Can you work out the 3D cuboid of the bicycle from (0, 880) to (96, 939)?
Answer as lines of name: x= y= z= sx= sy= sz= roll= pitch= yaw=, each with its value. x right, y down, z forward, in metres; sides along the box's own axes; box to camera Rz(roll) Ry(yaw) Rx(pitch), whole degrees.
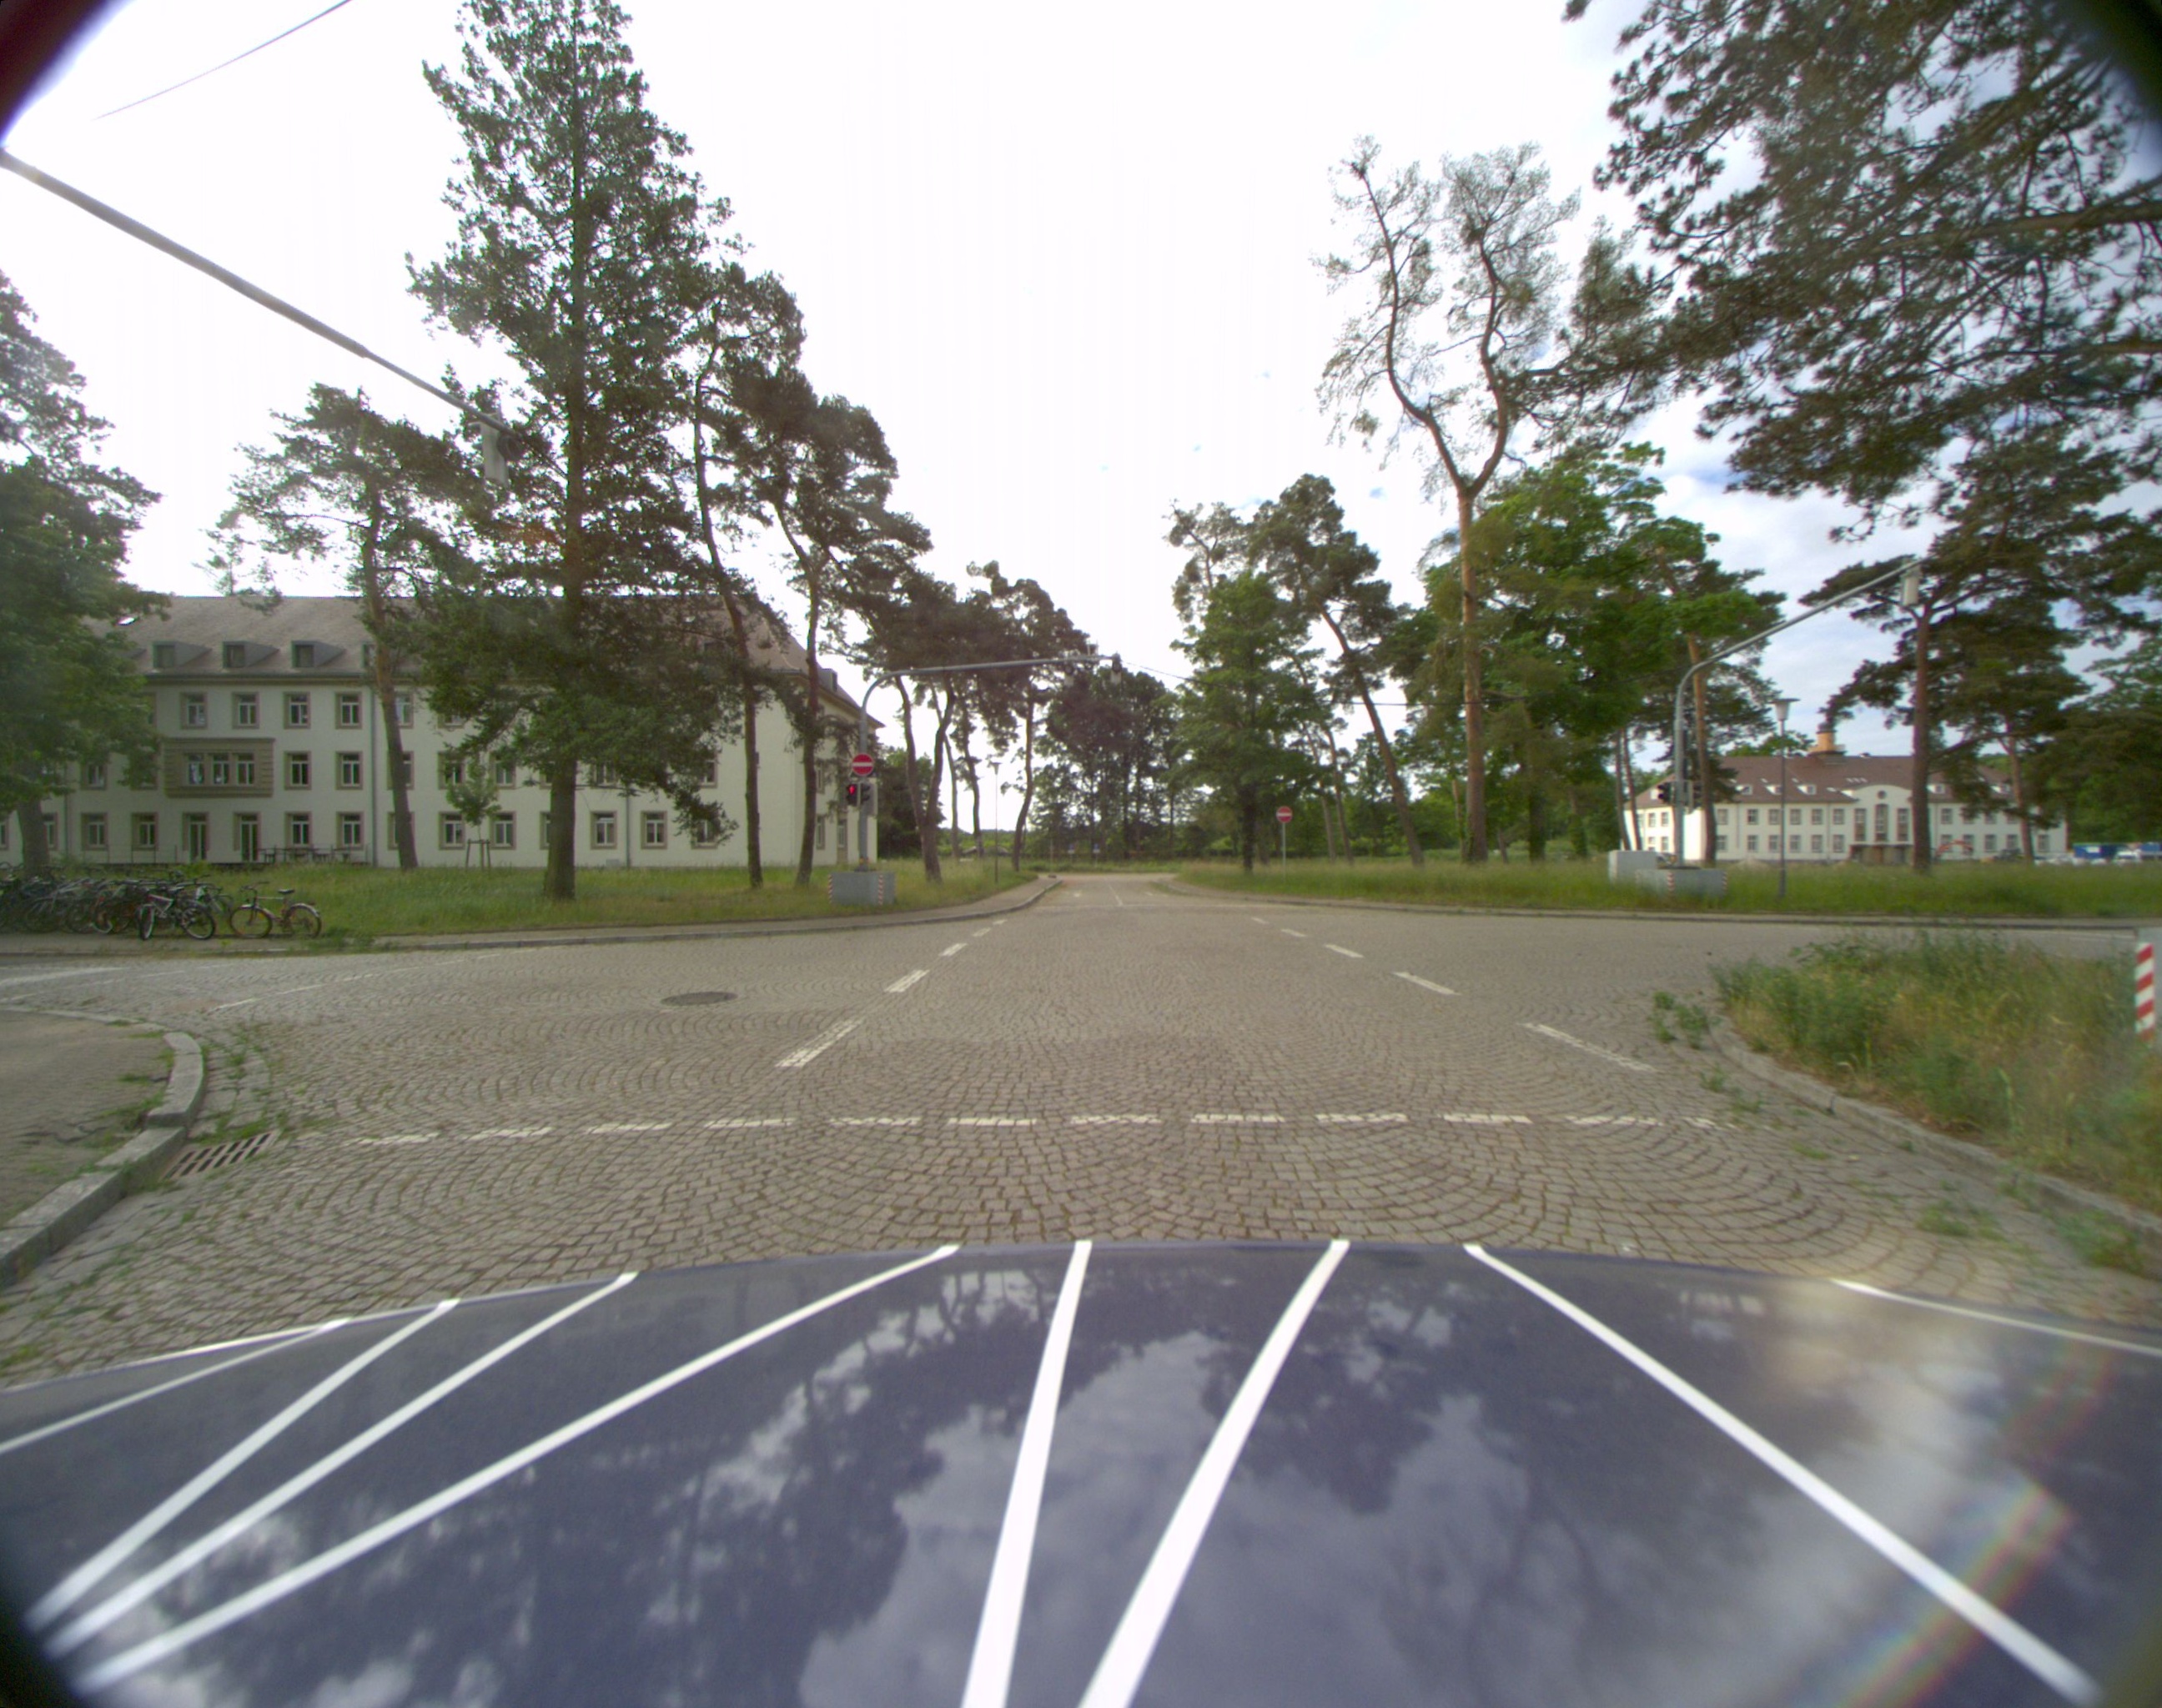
bicycle: x=-21.717 y=1.124 z=15.670 sx=0.448 sy=1.121 sz=1.731 roll=0 pitch=0 yaw=4

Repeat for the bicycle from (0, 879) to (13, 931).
bicycle: x=-23.705 y=1.110 z=15.805 sx=0.448 sy=1.121 sz=1.731 roll=0 pitch=0 yaw=4

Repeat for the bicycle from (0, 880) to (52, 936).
bicycle: x=-22.738 y=1.141 z=15.721 sx=0.448 sy=1.121 sz=1.731 roll=0 pitch=0 yaw=4

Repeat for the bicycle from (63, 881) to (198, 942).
bicycle: x=-19.389 y=1.137 z=15.556 sx=0.447 sy=1.121 sz=1.703 roll=0 pitch=0 yaw=9

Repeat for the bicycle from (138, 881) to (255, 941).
bicycle: x=-18.268 y=1.153 z=15.751 sx=0.476 sy=1.121 sz=1.656 roll=0 pitch=0 yaw=0

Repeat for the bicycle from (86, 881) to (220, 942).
bicycle: x=-18.896 y=1.145 z=15.525 sx=0.476 sy=1.121 sz=1.704 roll=0 pitch=0 yaw=9

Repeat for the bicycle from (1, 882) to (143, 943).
bicycle: x=-20.614 y=1.161 z=15.583 sx=0.447 sy=1.121 sz=1.732 roll=0 pitch=0 yaw=9

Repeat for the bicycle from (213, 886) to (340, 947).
bicycle: x=-15.023 y=1.163 z=14.214 sx=1.656 sy=1.079 sz=0.614 roll=0 pitch=1 yaw=-2

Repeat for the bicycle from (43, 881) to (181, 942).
bicycle: x=-19.865 y=1.153 z=15.628 sx=0.447 sy=1.121 sz=1.732 roll=0 pitch=0 yaw=9

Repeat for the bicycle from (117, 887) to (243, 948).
bicycle: x=-16.726 y=1.175 z=14.125 sx=1.655 sy=1.079 sz=0.615 roll=0 pitch=1 yaw=3

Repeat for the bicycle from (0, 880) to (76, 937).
bicycle: x=-22.198 y=1.120 z=15.707 sx=0.448 sy=1.121 sz=1.731 roll=0 pitch=0 yaw=4

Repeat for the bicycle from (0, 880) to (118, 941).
bicycle: x=-21.207 y=1.132 z=15.642 sx=0.448 sy=1.121 sz=1.731 roll=0 pitch=0 yaw=4

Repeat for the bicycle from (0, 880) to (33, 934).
bicycle: x=-23.224 y=1.132 z=15.766 sx=0.448 sy=1.121 sz=1.731 roll=0 pitch=0 yaw=4

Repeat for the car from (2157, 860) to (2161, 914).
car: x=30.491 y=0.910 z=18.665 sx=1.829 sy=1.466 sz=4.401 roll=0 pitch=0 yaw=-2
